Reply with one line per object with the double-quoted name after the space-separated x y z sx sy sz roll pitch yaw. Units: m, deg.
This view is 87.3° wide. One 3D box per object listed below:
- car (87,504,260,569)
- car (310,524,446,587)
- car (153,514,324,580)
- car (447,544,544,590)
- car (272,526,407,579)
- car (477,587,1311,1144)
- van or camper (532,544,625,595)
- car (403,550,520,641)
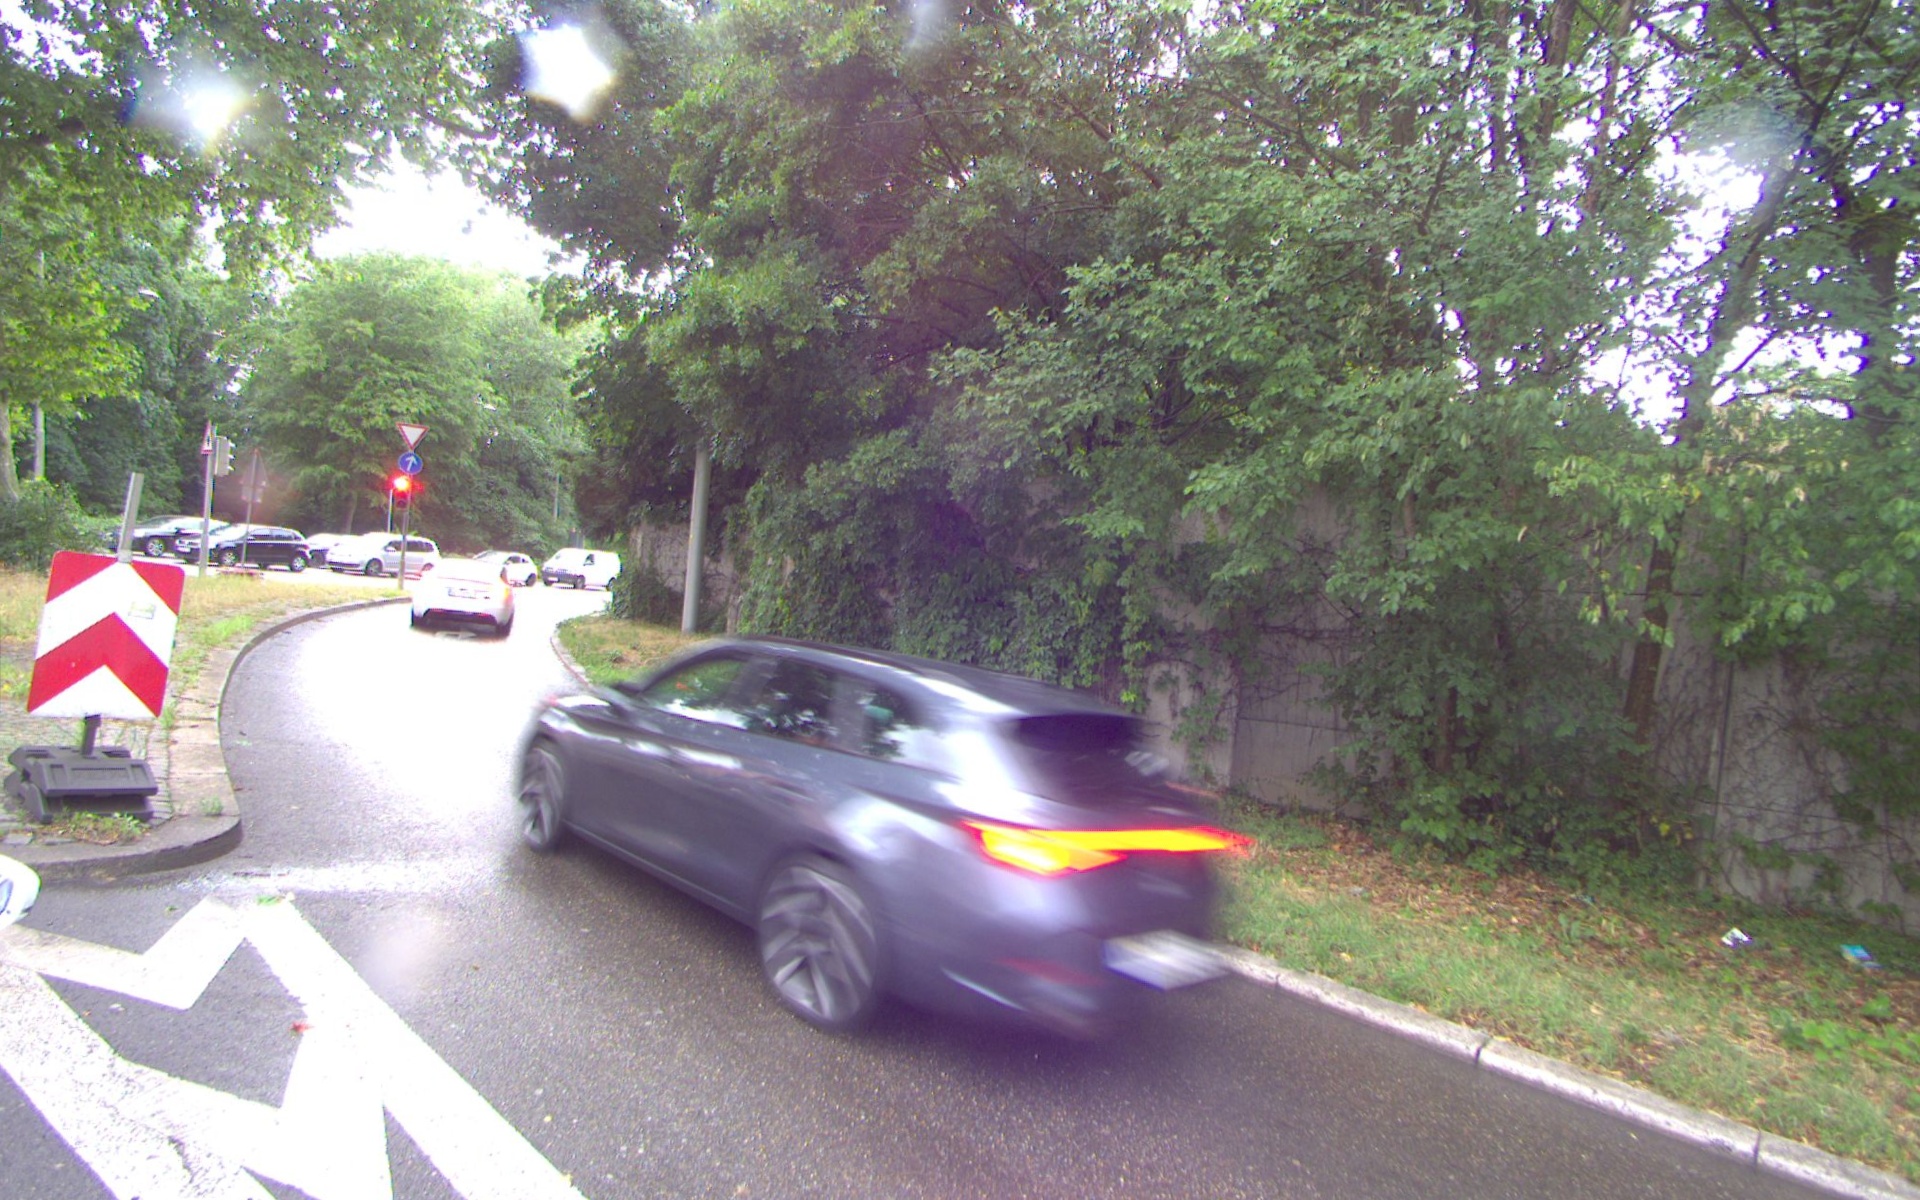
-26.675 -2.104 34.307 1.913 1.457 4.218 7 -2 16 "car"
-22.081 -1.642 38.361 1.871 1.699 4.216 7 -2 16 "car"
-23.325 -1.661 32.737 1.759 1.477 4.205 7 -2 16 "car"
-20.551 -1.416 44.695 1.627 1.478 3.869 7 -2 16 "car"
-24.776 -1.861 40.391 1.795 1.418 4.452 7 -2 16 "car"
-0.705 0.919 5.263 4.356 1.418 1.746 7 -3 44 "car"
-19.132 -1.485 50.725 1.870 1.970 4.870 7 -1 12 "van or camper"
-10.621 -0.142 21.727 1.837 1.464 4.593 11 -3 -24 "car"
